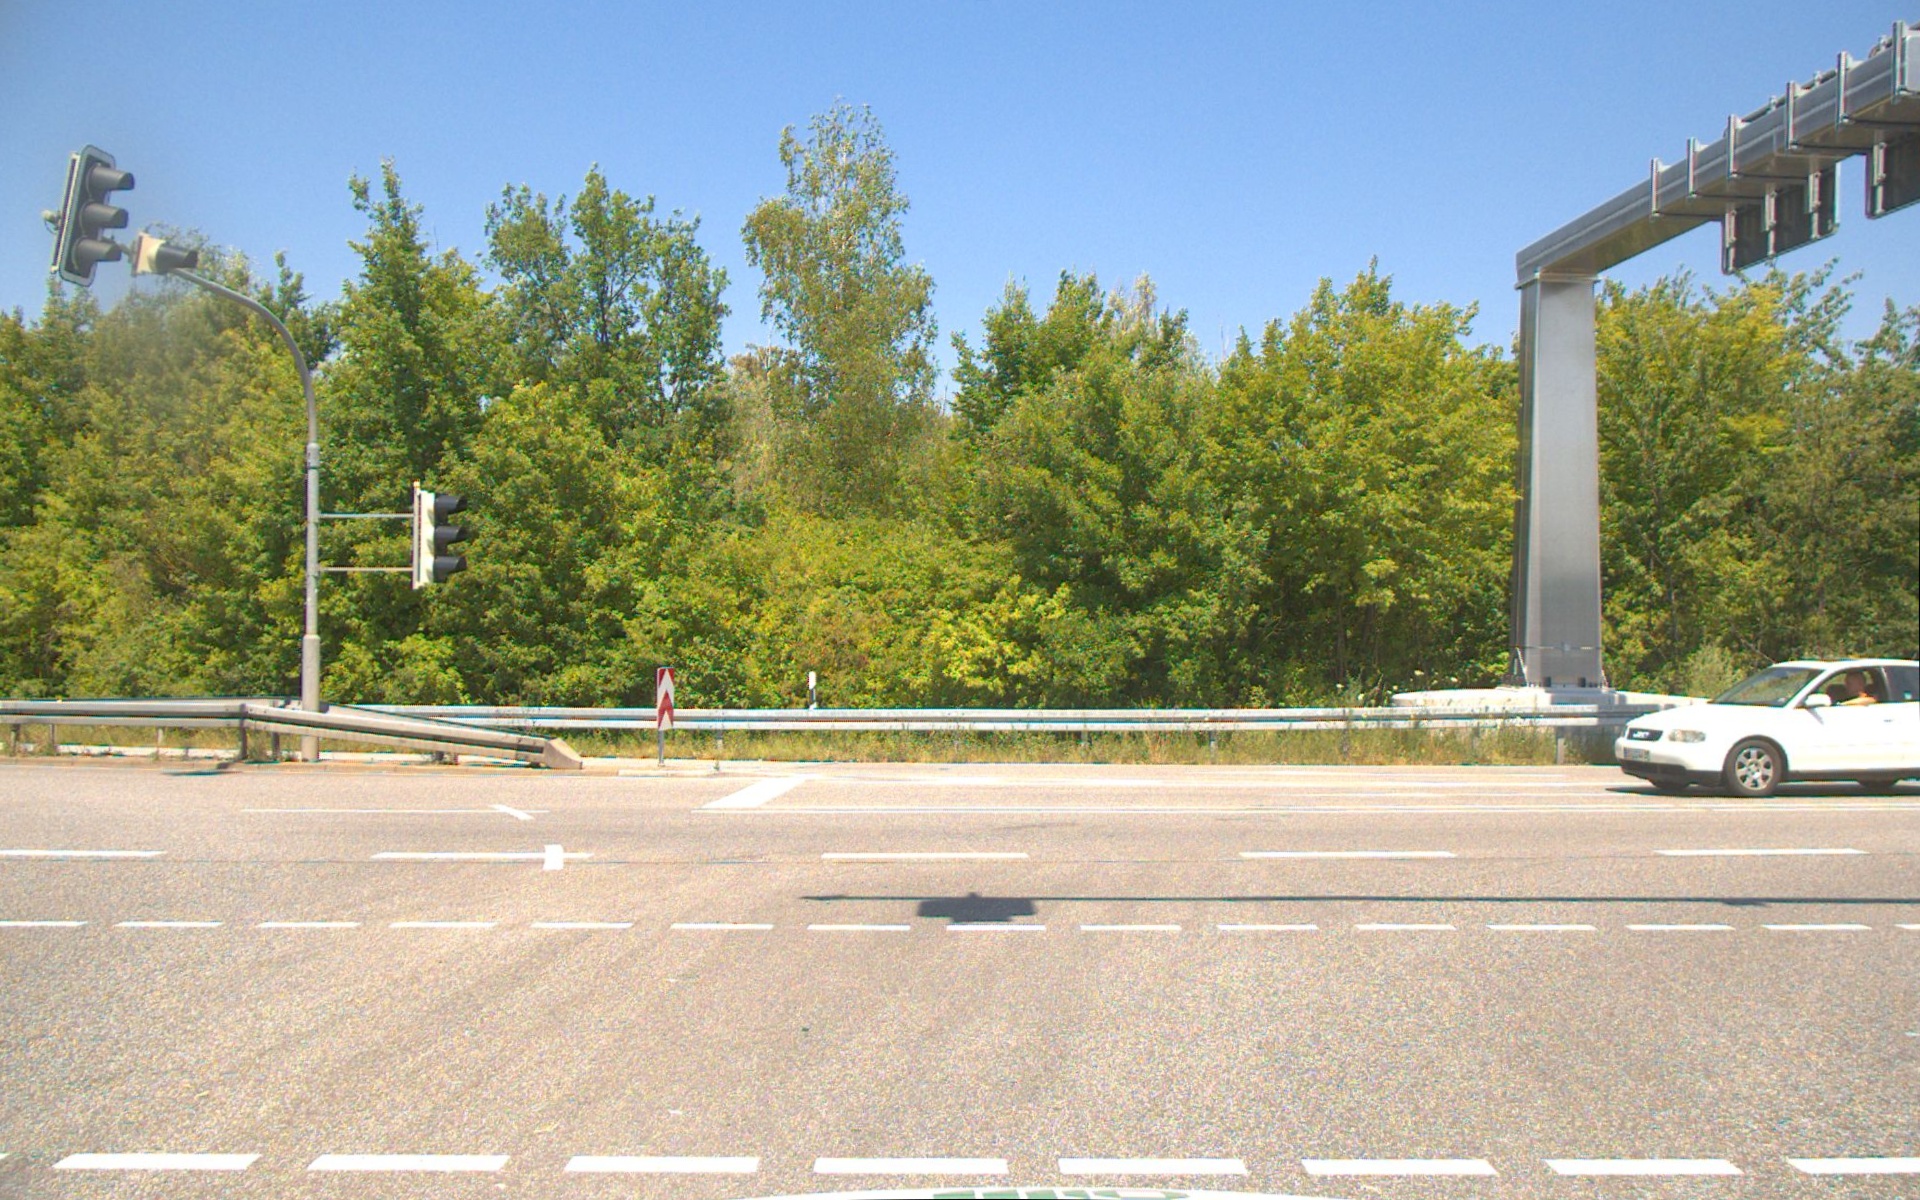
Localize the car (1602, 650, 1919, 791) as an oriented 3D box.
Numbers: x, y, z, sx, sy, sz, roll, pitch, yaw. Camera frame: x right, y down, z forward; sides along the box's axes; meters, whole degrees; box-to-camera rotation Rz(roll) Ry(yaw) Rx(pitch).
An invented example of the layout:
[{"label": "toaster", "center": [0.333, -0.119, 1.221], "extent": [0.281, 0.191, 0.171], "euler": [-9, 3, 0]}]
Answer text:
[{"label": "car", "center": [9.165, 1.275, 17.763], "extent": [3.902, 1.420, 1.644], "euler": [0, -4, -7]}]
